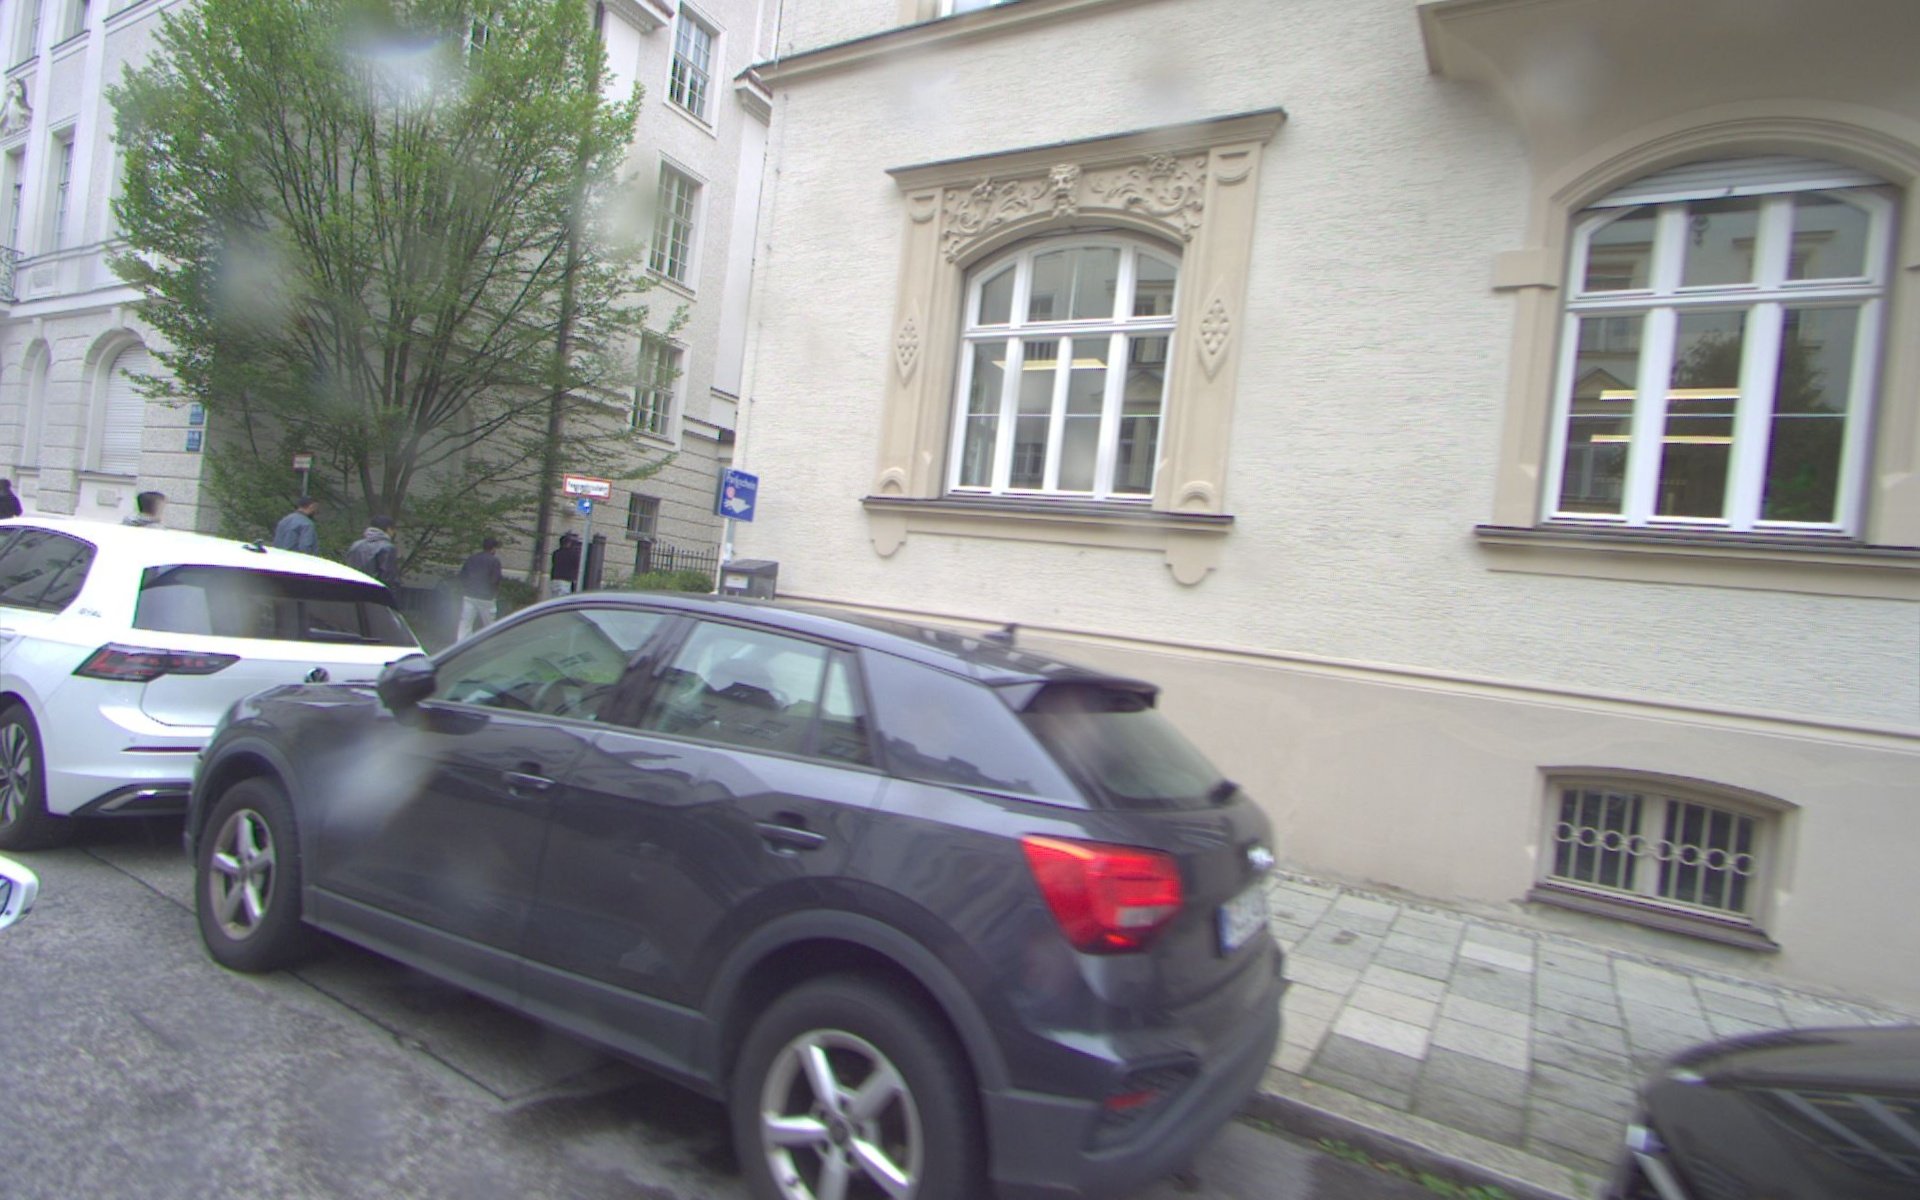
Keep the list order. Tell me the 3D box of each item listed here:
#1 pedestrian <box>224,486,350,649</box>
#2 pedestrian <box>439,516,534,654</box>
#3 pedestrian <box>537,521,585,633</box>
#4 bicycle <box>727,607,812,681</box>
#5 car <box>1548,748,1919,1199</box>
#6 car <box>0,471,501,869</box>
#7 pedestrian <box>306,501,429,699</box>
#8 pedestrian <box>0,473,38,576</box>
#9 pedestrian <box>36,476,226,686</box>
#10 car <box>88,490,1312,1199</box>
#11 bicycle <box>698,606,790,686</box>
[{"bbox_3d":[-7.892,-0.362,11.816,0.661,1.791,0.883,7,0,30],"label":"pedestrian"},{"bbox_3d":[-6.635,-0.199,14.115,0.667,1.842,0.860,7,3,30],"label":"pedestrian"},{"bbox_3d":[-6.794,-0.387,17.136,0.546,1.817,0.572,6,1,-17],"label":"pedestrian"},{"bbox_3d":[-2.685,0.614,14.158,1.112,0.919,0.452,5,1,33],"label":"bicycle"},{"bbox_3d":[2.960,1.174,1.083,3.956,1.413,1.745,5,-3,32],"label":"car"},{"bbox_3d":[-4.681,0.193,5.562,3.993,1.525,1.667,5,-2,27],"label":"car"},{"bbox_3d":[-5.693,0.007,9.672,0.661,1.791,0.628,7,1,30],"label":"pedestrian"},{"bbox_3d":[-16.311,-1.298,17.105,0.798,1.701,0.682,7,3,30],"label":"pedestrian"},{"bbox_3d":[-7.297,-0.148,8.911,0.852,1.678,0.852,6,0,-8],"label":"pedestrian"},{"bbox_3d":[-1.026,0.637,3.664,4.011,1.515,1.797,7,-2,28],"label":"car"},{"bbox_3d":[-2.802,0.587,13.020,1.112,0.919,0.452,5,1,33],"label":"bicycle"}]
